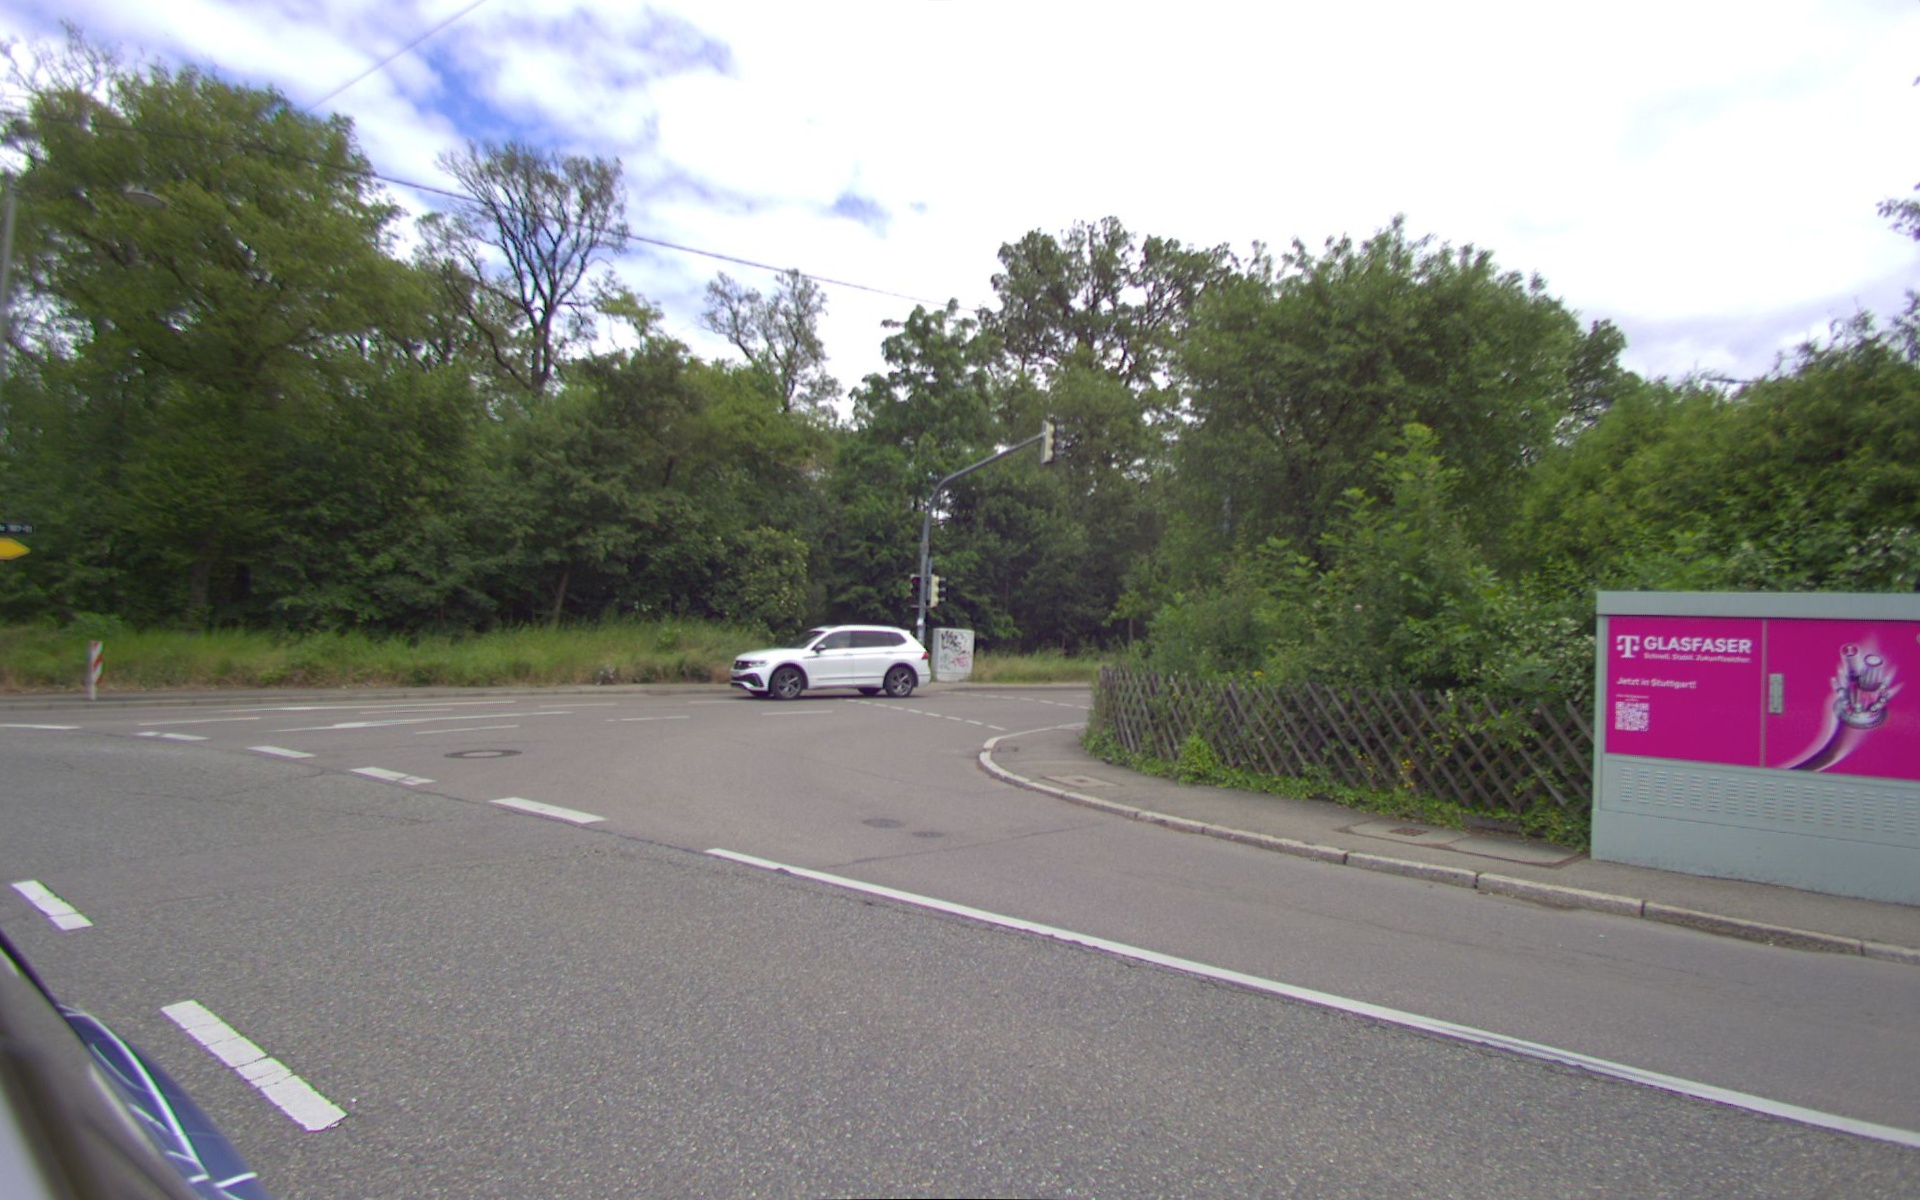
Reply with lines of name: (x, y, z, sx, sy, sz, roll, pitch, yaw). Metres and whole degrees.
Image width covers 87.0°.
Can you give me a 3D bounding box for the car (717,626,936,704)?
car: (-3.022, 1.506, 23.218, 4.574, 1.640, 1.869, 3, -4, -31)
